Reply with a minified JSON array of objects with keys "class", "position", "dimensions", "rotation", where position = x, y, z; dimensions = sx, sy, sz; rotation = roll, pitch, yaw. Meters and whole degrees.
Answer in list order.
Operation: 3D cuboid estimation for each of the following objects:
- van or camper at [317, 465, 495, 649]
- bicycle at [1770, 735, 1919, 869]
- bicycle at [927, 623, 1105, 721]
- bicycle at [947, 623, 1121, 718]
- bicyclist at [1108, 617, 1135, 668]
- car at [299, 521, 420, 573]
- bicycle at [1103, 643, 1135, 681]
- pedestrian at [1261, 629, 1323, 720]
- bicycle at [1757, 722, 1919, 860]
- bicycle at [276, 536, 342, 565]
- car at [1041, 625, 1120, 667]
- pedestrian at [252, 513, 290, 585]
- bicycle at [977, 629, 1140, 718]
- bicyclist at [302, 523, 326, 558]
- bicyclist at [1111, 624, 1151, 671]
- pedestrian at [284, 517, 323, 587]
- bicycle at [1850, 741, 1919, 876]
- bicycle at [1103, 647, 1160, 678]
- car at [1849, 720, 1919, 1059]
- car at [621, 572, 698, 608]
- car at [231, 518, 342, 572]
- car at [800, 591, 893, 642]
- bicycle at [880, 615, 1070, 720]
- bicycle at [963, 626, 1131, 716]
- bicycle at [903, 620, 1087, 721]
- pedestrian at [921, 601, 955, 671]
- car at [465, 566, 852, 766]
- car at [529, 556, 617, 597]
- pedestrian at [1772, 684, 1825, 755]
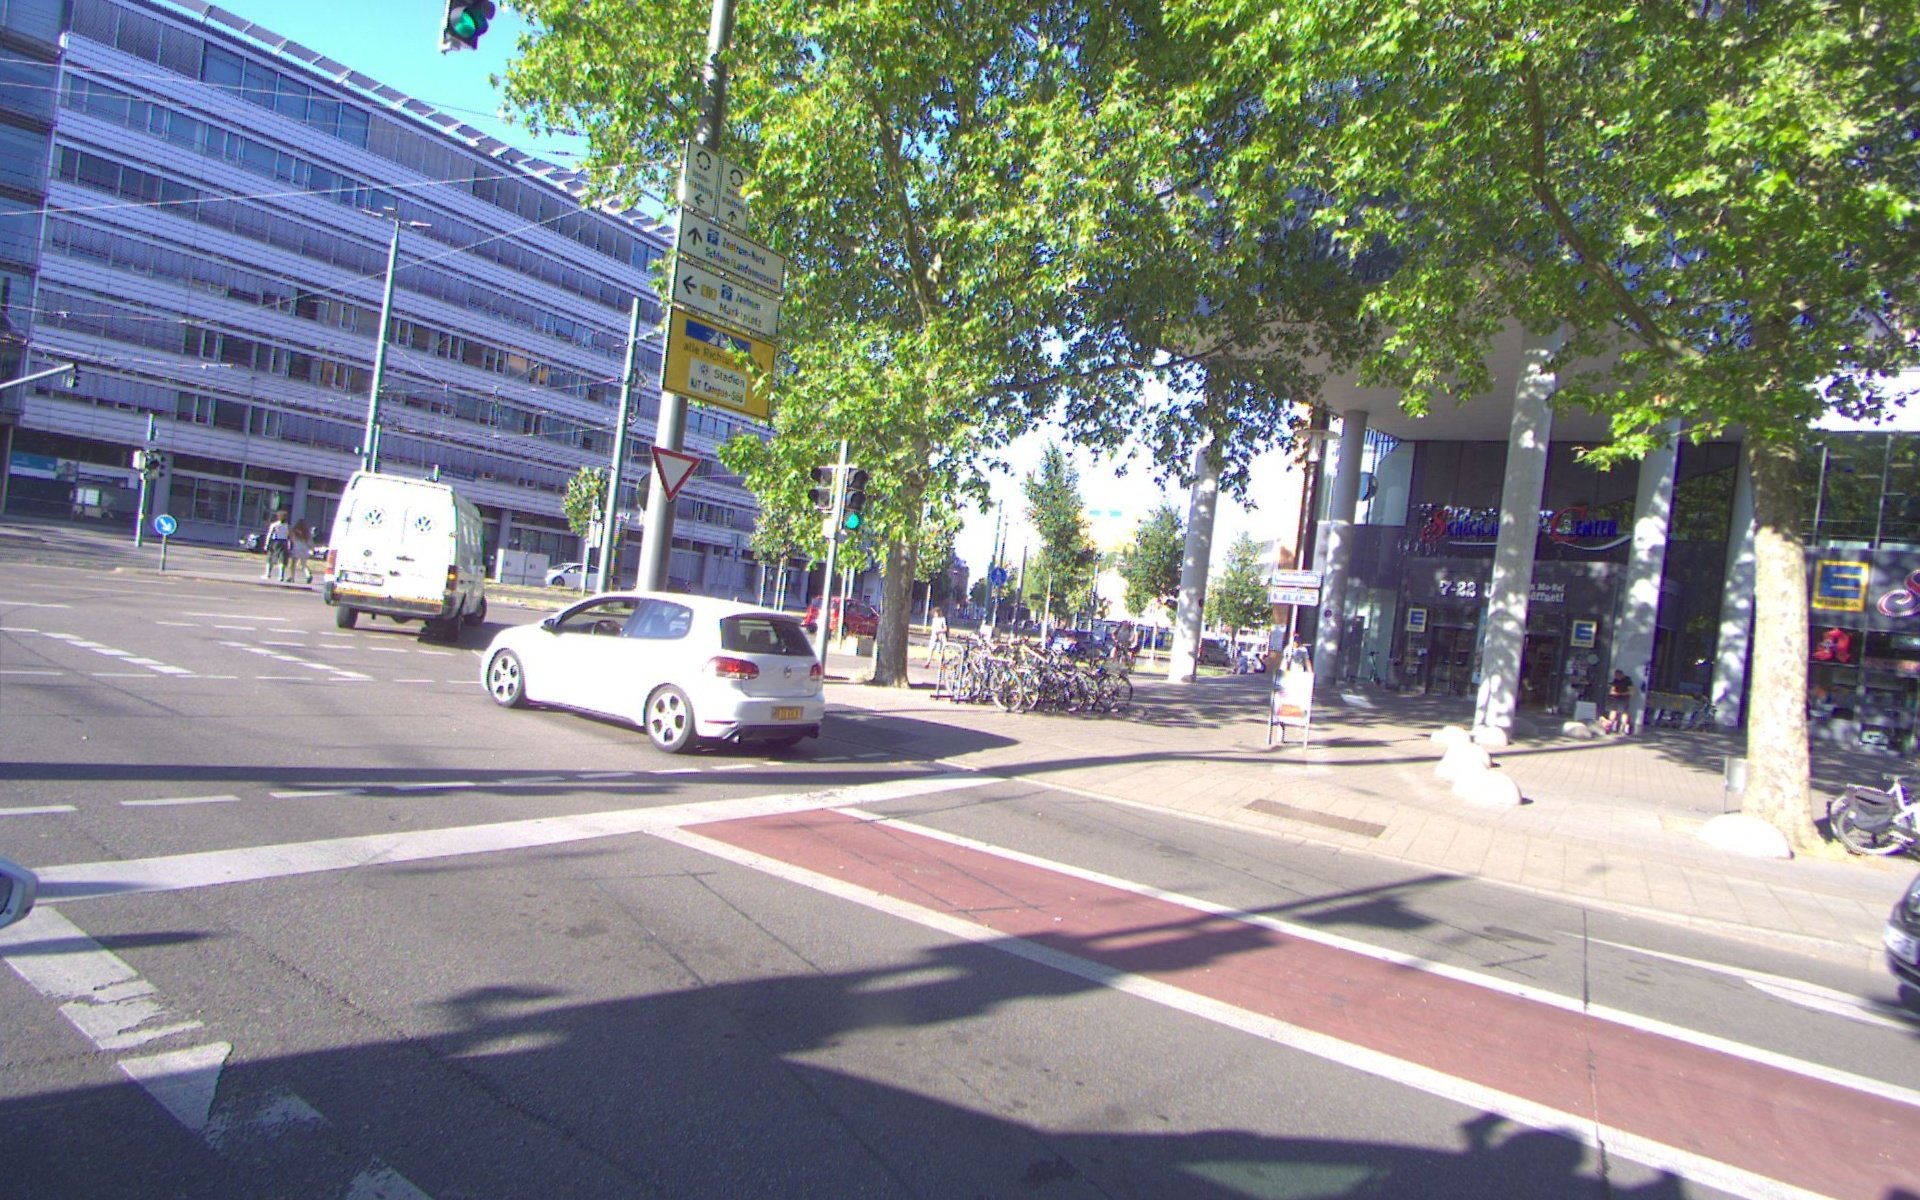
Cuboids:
[{"class":"van or camper","position":[-10.056,-0.760,18.802],"dimensions":[1.980,2.646,6.463],"rotation":[7,0,-23]},{"class":"bicycle","position":[10.886,2.290,10.431],"dimensions":[3.759,1.234,0.756],"rotation":[5,-2,38]},{"class":"bicycle","position":[0.905,1.193,16.958],"dimensions":[2.896,1.252,0.705],"rotation":[6,-1,32]},{"class":"bicycle","position":[1.250,1.204,17.572],"dimensions":[2.896,1.251,0.705],"rotation":[6,-3,31]},{"class":"bicyclist","position":[5.014,1.307,31.228],"dimensions":[0.581,1.504,0.751],"rotation":[5,1,17]},{"class":"car","position":[-27.386,-2.382,45.977],"dimensions":[1.854,1.744,4.256],"rotation":[7,0,34]},{"class":"bicycle","position":[4.954,1.903,31.215],"dimensions":[0.590,1.028,2.194],"rotation":[6,1,17]},{"class":"pedestrian","position":[7.393,1.647,22.433],"dimensions":[0.800,1.913,0.871],"rotation":[5,1,-16]},{"class":"bicycle","position":[11.253,2.360,11.039],"dimensions":[3.757,1.235,0.727],"rotation":[10,1,38]},{"class":"bicycle","position":[-30.061,-2.277,46.498],"dimensions":[0.627,1.035,2.410],"rotation":[7,0,36]},{"class":"car","position":[5.601,2.158,46.348],"dimensions":[1.725,1.476,4.203],"rotation":[7,-2,34]},{"class":"pedestrian","position":[-18.092,-1.347,26.421],"dimensions":[0.673,1.781,0.735],"rotation":[6,1,-34]},{"class":"bicycle","position":[1.818,1.370,18.927],"dimensions":[2.896,1.250,0.698],"rotation":[6,-4,31]},{"class":"bicyclist","position":[-29.919,-2.767,46.608],"dimensions":[0.604,1.521,0.663],"rotation":[7,1,37]},{"class":"bicyclist","position":[6.121,1.697,35.953],"dimensions":[1.021,1.586,0.799],"rotation":[5,1,-39]},{"class":"pedestrian","position":[-17.522,-1.276,26.855],"dimensions":[0.679,1.781,0.734],"rotation":[6,1,-36]},{"class":"bicycle","position":[10.177,2.141,9.495],"dimensions":[2.514,1.234,0.756],"rotation":[5,-2,37]},{"class":"bicycle","position":[6.160,2.245,36.049],"dimensions":[2.083,0.964,0.740],"rotation":[5,1,-39]},{"class":"car","position":[6.794,1.675,4.219],"dimensions":[4.179,1.655,1.768],"rotation":[7,-1,31]},{"class":"car","position":[-18.394,-0.590,61.751],"dimensions":[1.852,1.614,4.121],"rotation":[6,-2,35]},{"class":"car","position":[-33.506,-2.707,50.142],"dimensions":[1.967,2.037,3.995],"rotation":[6,-2,32]},{"class":"car","position":[-4.229,0.649,37.965],"dimensions":[1.470,1.476,3.592],"rotation":[7,-2,31]},{"class":"bicycle","position":[0.192,1.024,15.711],"dimensions":[2.896,1.252,0.705],"rotation":[6,-1,31]},{"class":"bicycle","position":[1.546,1.269,18.239],"dimensions":[2.896,1.252,0.705],"rotation":[6,-1,31]},{"class":"bicycle","position":[0.533,1.119,16.340],"dimensions":[2.896,1.243,0.686],"rotation":[6,-1,31]},{"class":"pedestrian","position":[-0.540,0.895,24.947],"dimensions":[0.523,1.644,0.543],"rotation":[7,1,19]},{"class":"car","position":[-3.247,0.621,10.584],"dimensions":[3.922,1.445,1.637],"rotation":[7,-1,33]},{"class":"car","position":[-21.018,-1.269,54.797],"dimensions":[1.852,1.614,3.991],"rotation":[6,-2,35]},{"class":"pedestrian","position":[22.495,3.188,26.996],"dimensions":[0.824,1.765,0.644],"rotation":[7,1,32]}]
